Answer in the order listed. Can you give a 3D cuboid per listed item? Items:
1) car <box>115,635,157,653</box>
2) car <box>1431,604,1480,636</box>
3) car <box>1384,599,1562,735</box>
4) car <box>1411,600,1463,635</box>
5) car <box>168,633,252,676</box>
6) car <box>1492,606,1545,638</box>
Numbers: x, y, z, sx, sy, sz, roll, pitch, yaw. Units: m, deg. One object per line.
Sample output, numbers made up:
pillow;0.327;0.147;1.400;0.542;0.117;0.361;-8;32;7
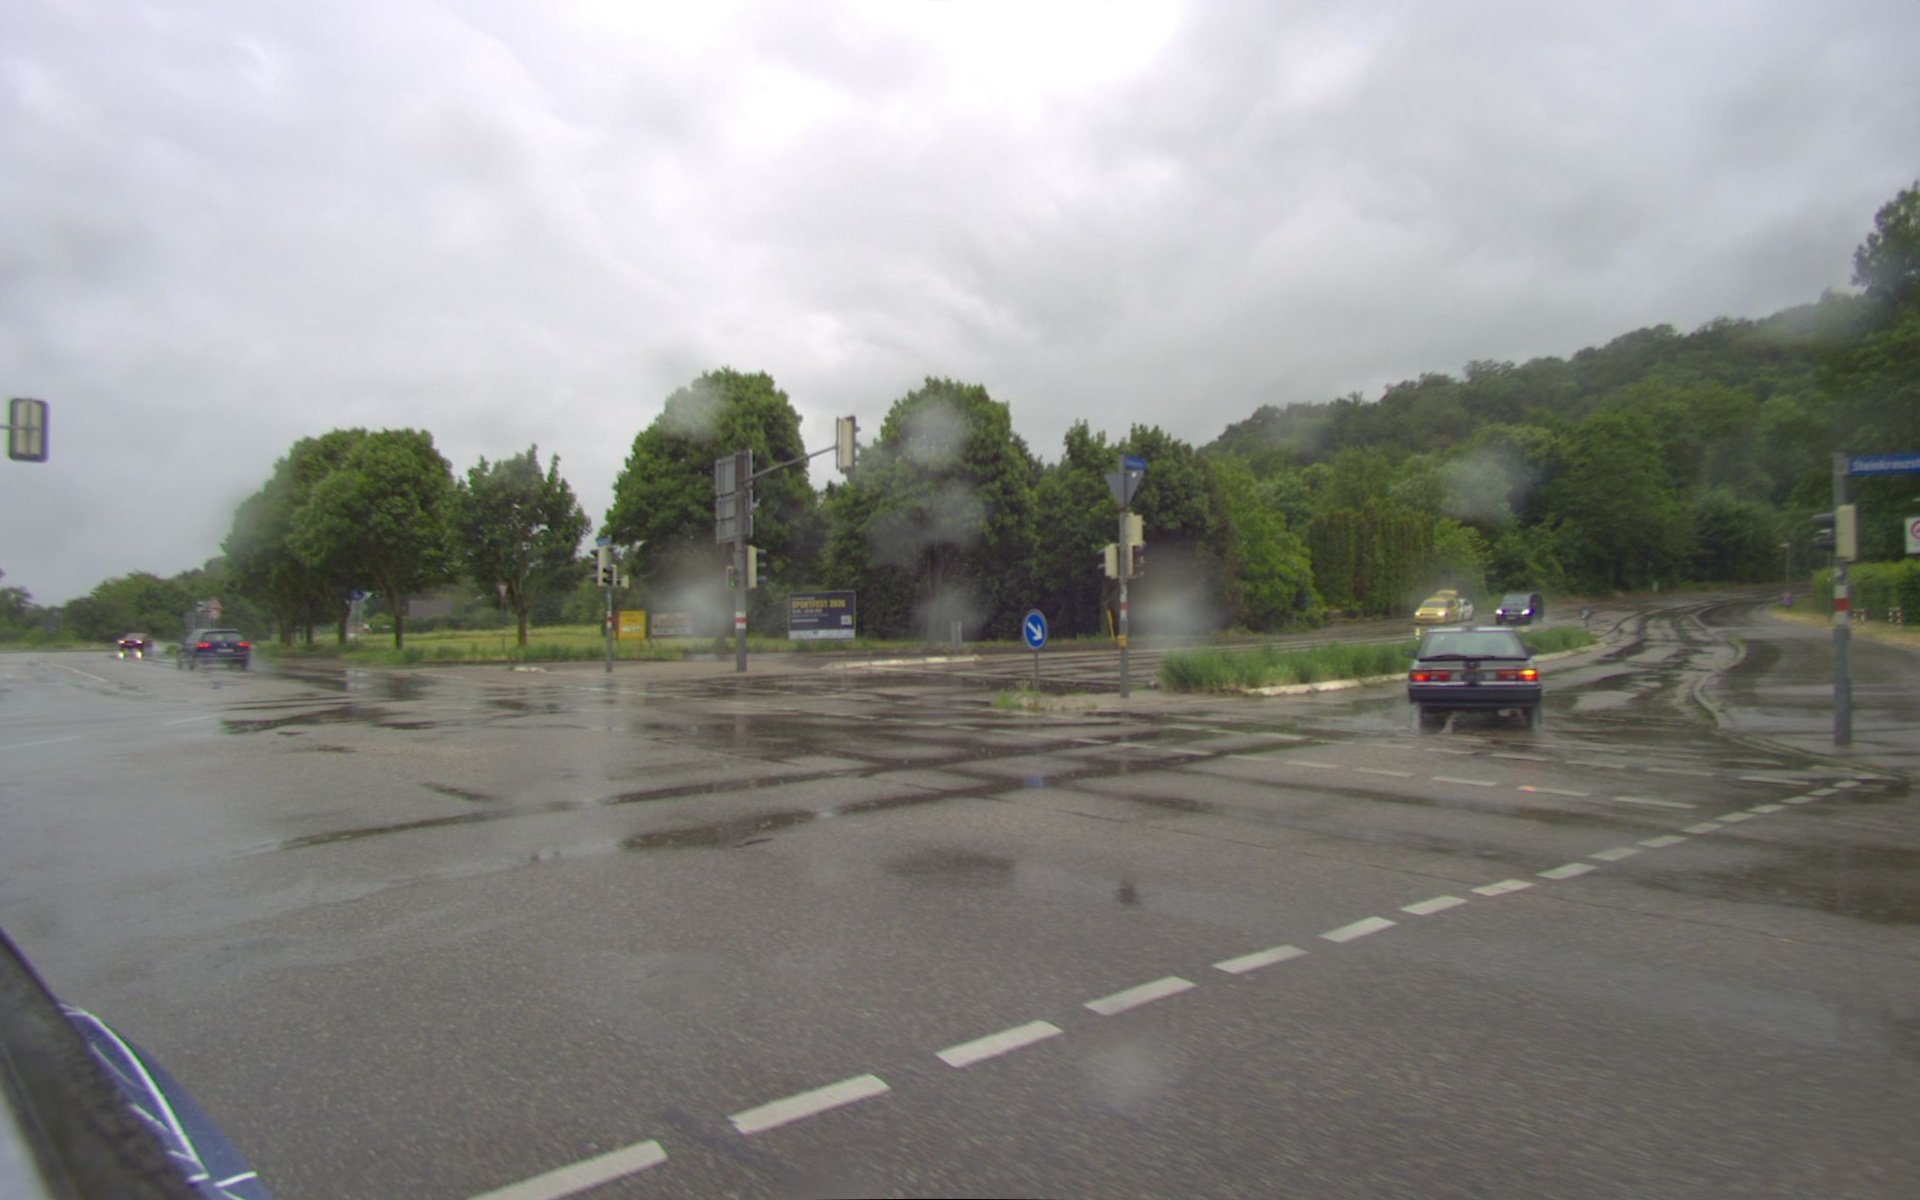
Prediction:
car;-85.466;4.551;105.037;1.885;1.701;4.114;-1;-1;-14
car;32.206;1.289;65.769;1.814;2.029;3.631;-3;-2;43
car;7.647;0.906;15.147;2.033;1.721;4.028;-2;-2;27
car;29.473;1.091;62.519;1.814;2.042;3.630;-3;-1;44
car;-27.992;1.987;37.734;4.452;1.477;1.690;-2;-2;42
car;33.752;1.327;61.172;1.833;1.829;3.943;-3;-2;43
